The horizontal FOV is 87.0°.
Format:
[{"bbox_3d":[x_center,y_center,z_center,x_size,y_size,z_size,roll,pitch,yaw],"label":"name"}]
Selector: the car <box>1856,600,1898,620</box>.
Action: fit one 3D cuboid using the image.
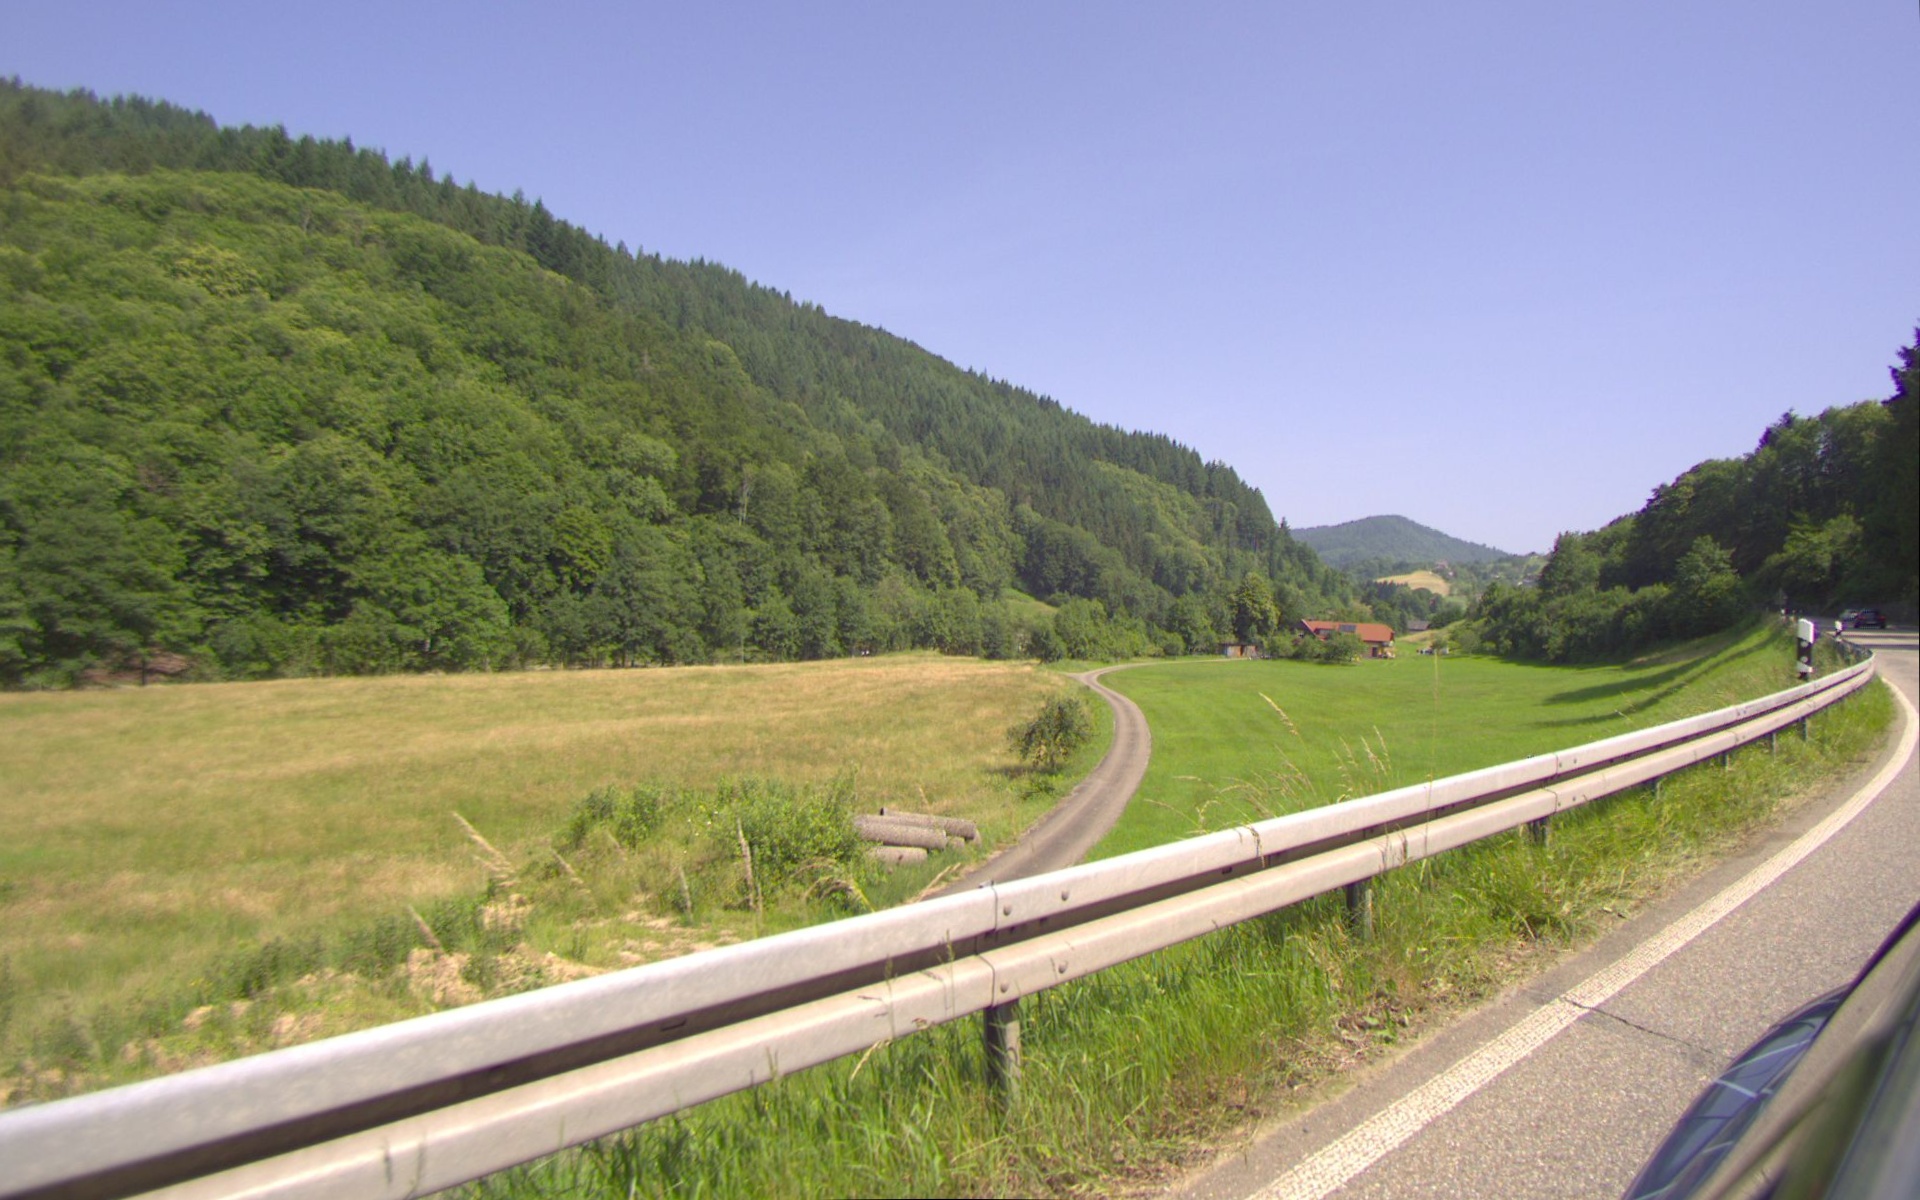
[{"bbox_3d":[69.440,0.733,76.673,1.758,1.414,4.094,-1,0,35],"label":"car"}]
